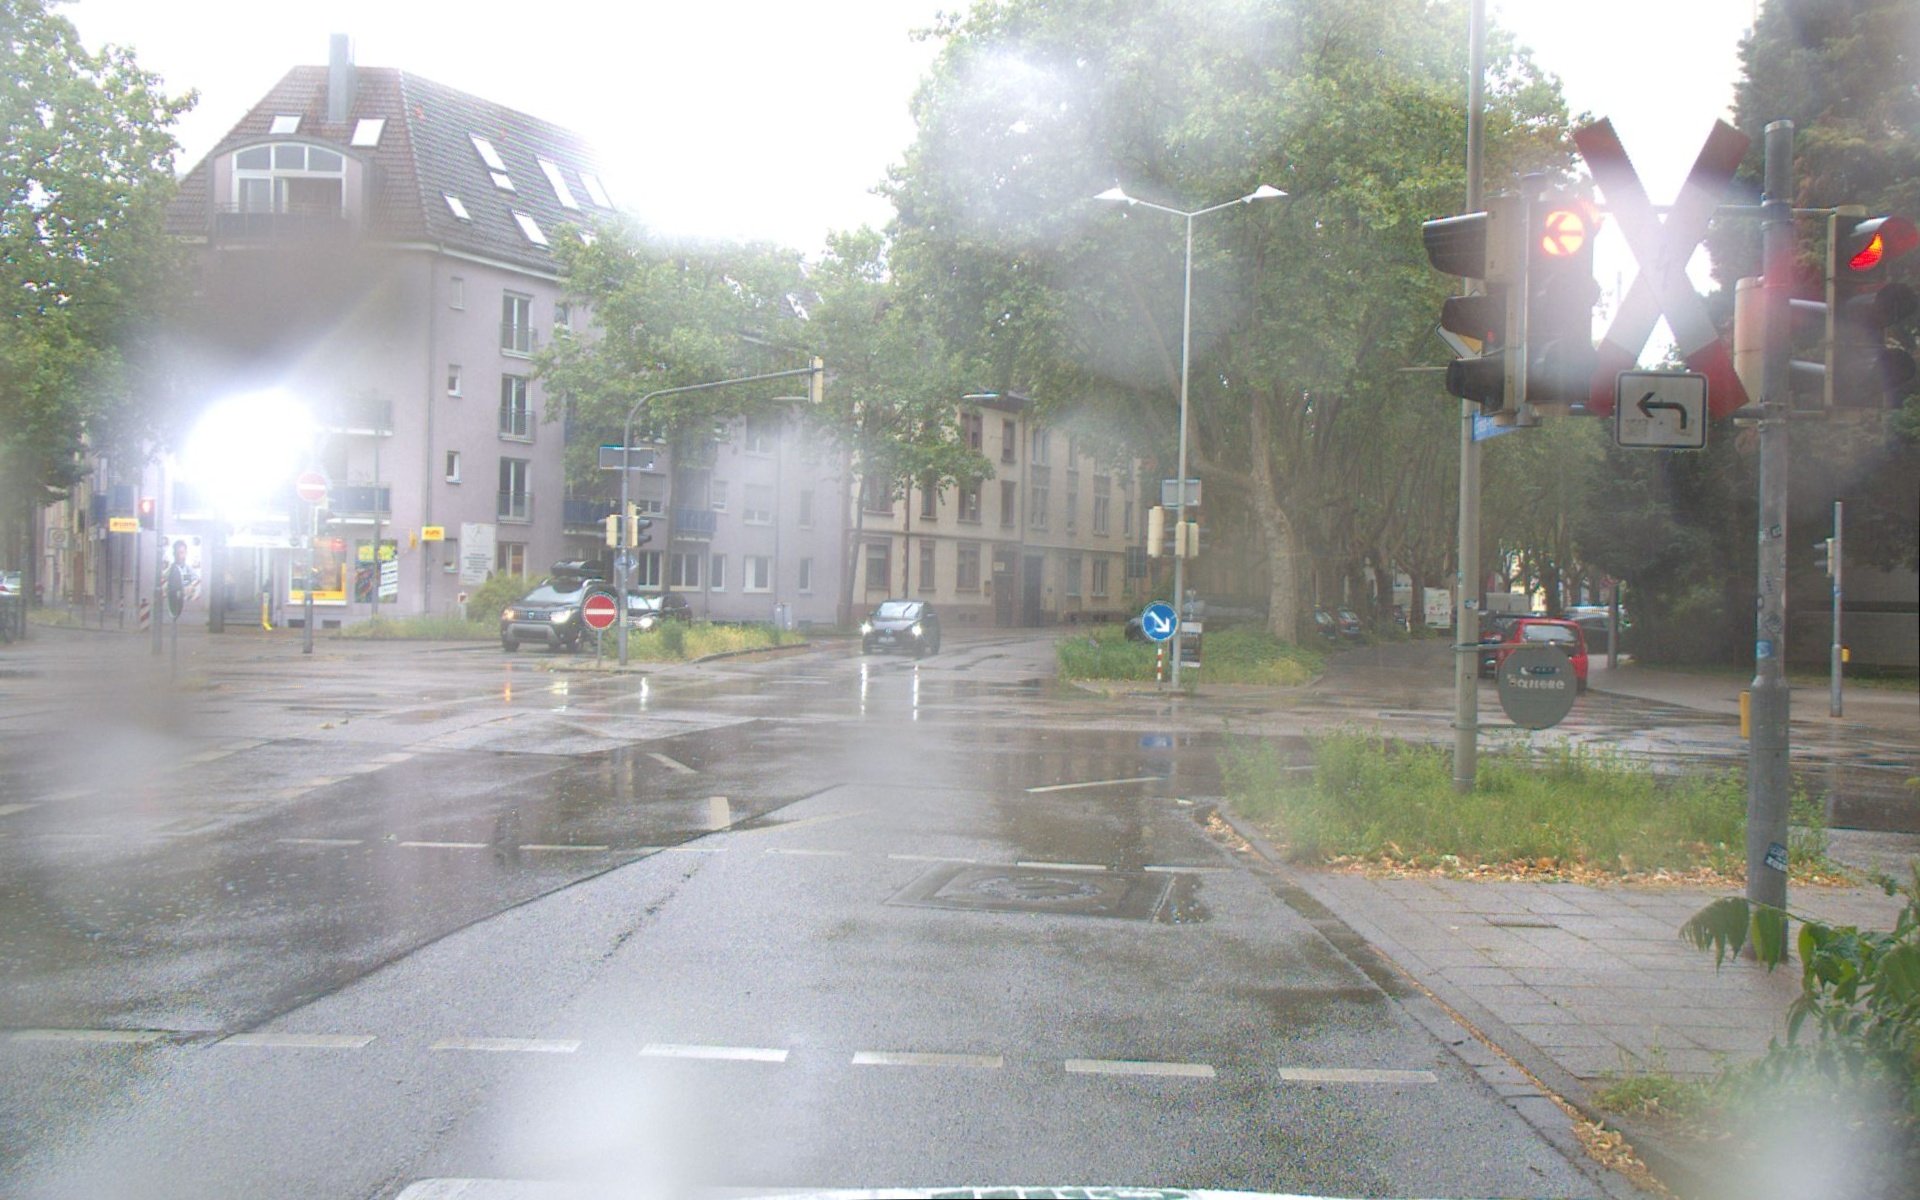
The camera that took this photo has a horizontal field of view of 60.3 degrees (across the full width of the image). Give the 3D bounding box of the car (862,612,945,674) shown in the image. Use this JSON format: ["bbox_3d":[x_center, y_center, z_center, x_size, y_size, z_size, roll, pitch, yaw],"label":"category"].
[{"bbox_3d":[-1.526,1.152,45.837,1.568,1.579,3.563,0,0,10],"label":"car"}]

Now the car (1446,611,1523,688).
[{"bbox_3d":[15.156,1.396,47.931,1.951,2.049,4.003,0,0,15],"label":"car"}]

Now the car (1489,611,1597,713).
[{"bbox_3d":[12.844,1.319,36.634,1.951,2.049,4.003,0,0,15],"label":"car"}]

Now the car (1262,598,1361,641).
[{"bbox_3d":[13.919,0.751,65.519,3.537,1.646,1.679,0,0,28],"label":"car"}]

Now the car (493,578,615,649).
[{"bbox_3d":[-9.432,0.282,38.660,1.688,1.579,3.562,-1,0,5],"label":"car"}]

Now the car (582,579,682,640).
[{"bbox_3d":[-8.802,0.227,44.602,1.688,1.579,3.562,-1,0,5],"label":"car"}]

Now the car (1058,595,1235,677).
[{"bbox_3d":[3.725,0.704,32.945,3.405,1.550,1.521,0,0,8],"label":"car"}]

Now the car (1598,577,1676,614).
[{"bbox_3d":[37.854,-0.244,92.526,3.903,2.049,1.708,0,0,19],"label":"car"}]

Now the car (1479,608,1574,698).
[{"bbox_3d":[14.003,1.271,41.055,1.951,2.049,4.003,0,0,15],"label":"car"}]
